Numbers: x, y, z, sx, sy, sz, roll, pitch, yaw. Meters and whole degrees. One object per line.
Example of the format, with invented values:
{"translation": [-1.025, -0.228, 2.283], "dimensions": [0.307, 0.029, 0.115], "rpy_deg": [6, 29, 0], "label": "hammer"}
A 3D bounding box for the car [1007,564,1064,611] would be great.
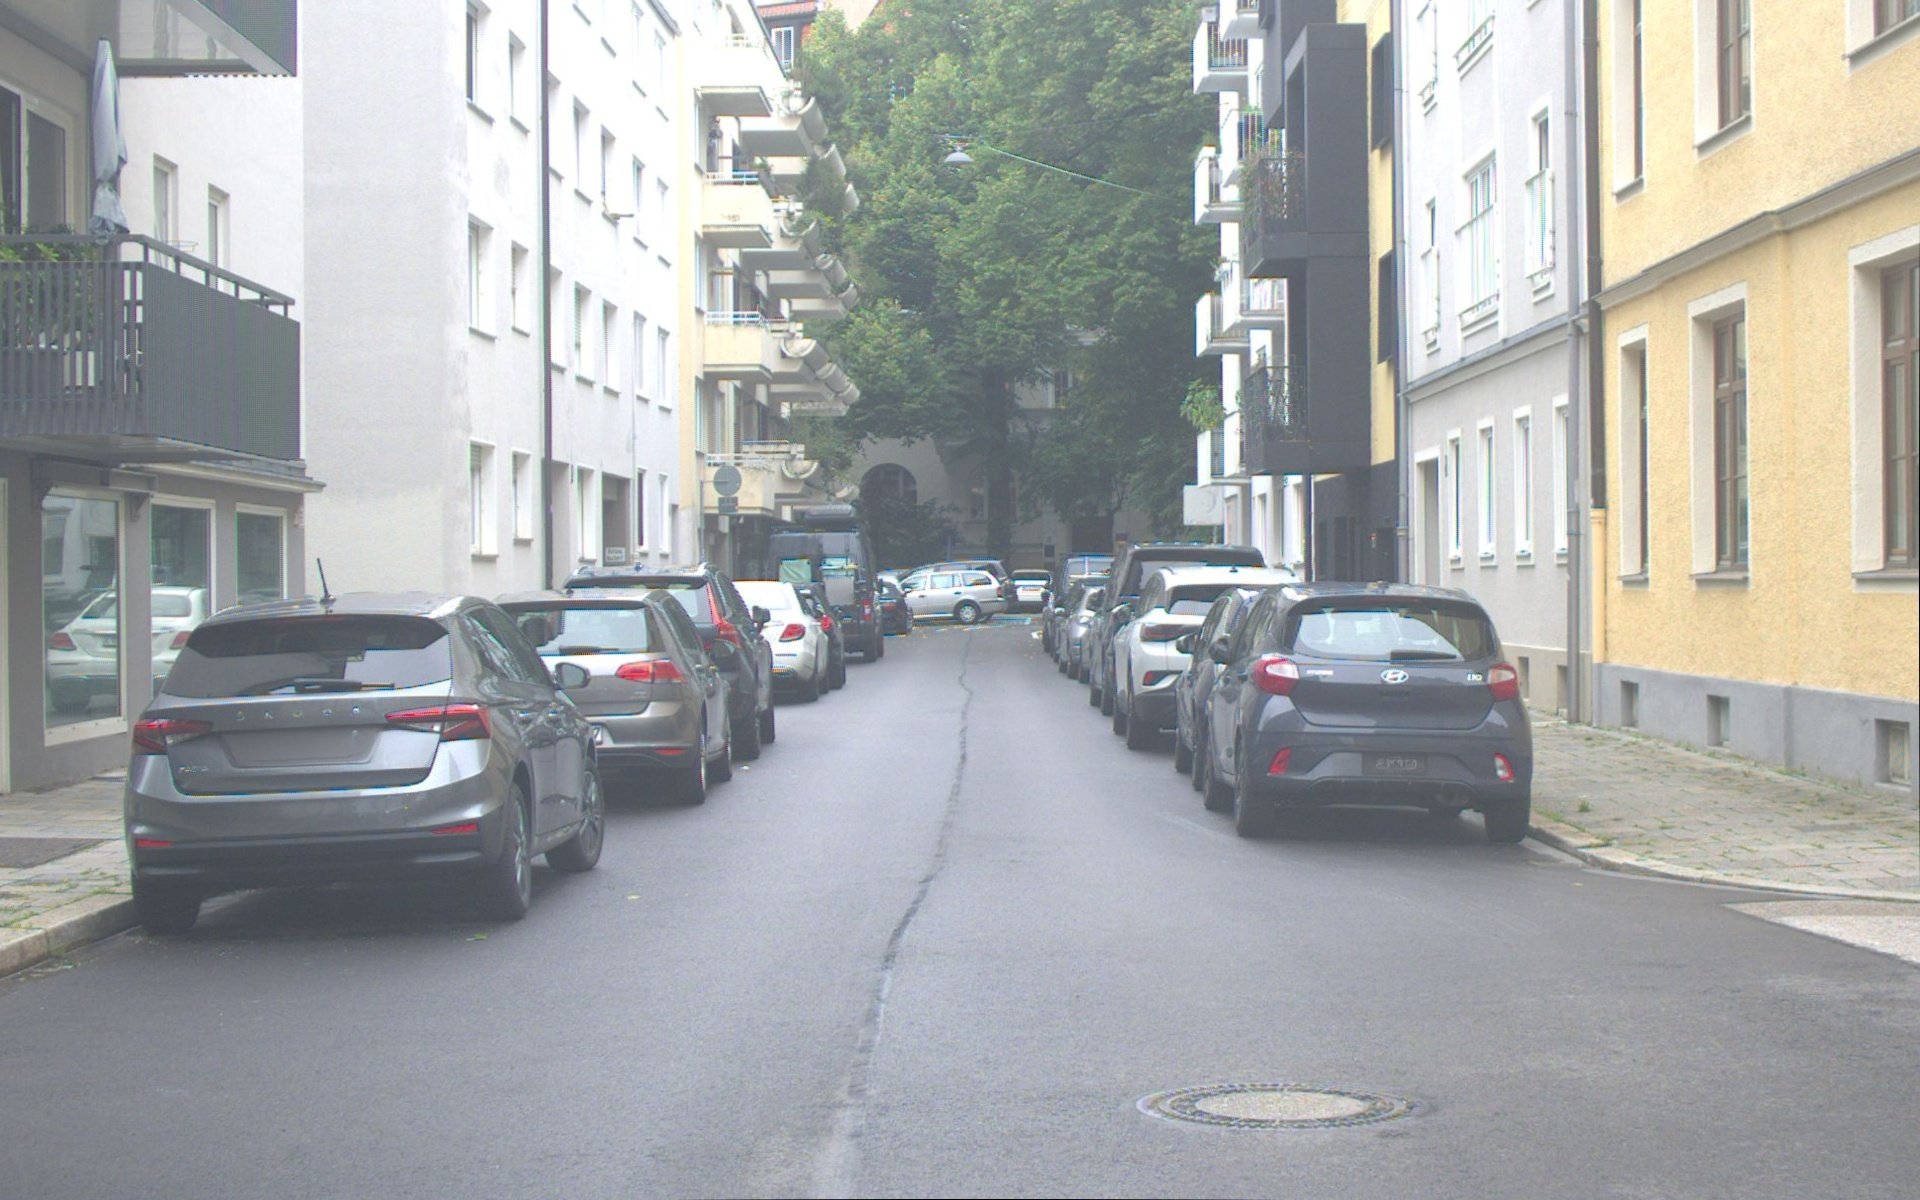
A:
{"translation": [2.356, -0.398, 108.283], "dimensions": [1.642, 1.379, 3.746], "rpy_deg": [-3, 0, 0], "label": "car"}

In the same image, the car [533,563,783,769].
{"translation": [-2.549, 0.513, 29.914], "dimensions": [1.777, 1.624, 4.415], "rpy_deg": [-1, 0, 0], "label": "car"}

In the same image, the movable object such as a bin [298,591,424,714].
{"translation": [-6.830, 0.587, 39.253], "dimensions": [1.166, 1.332, 1.025], "rpy_deg": [-2, 0, 3], "label": "movable object such as a bin"}

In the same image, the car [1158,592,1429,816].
{"translation": [2.433, 0.718, 25.865], "dimensions": [1.664, 1.464, 3.819], "rpy_deg": [2, 1, 1], "label": "car"}

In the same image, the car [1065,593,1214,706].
{"translation": [2.548, 0.675, 49.700], "dimensions": [1.829, 1.449, 4.415], "rpy_deg": [3, 0, 0], "label": "car"}

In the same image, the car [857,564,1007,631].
{"translation": [-0.742, -0.076, 91.334], "dimensions": [3.885, 1.579, 1.648], "rpy_deg": [-3, 0, -1], "label": "car"}

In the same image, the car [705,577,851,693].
{"translation": [-2.505, 0.456, 48.029], "dimensions": [1.777, 1.448, 4.046], "rpy_deg": [-3, 0, 0], "label": "car"}

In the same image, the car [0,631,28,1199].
{"translation": [-2.783, 0.803, 4.529], "dimensions": [1.856, 1.403, 4.383], "rpy_deg": [-1, 0, 1], "label": "car"}

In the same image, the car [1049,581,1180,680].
{"translation": [2.449, 0.460, 55.565], "dimensions": [1.829, 1.449, 4.415], "rpy_deg": [3, 0, 0], "label": "car"}

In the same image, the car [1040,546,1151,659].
{"translation": [2.545, 0.032, 65.561], "dimensions": [1.829, 1.993, 4.415], "rpy_deg": [3, 0, 0], "label": "car"}

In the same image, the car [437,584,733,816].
{"translation": [-2.539, 0.631, 24.088], "dimensions": [1.693, 1.437, 3.978], "rpy_deg": [-1, 0, -1], "label": "car"}

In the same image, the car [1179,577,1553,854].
{"translation": [2.420, 0.635, 21.489], "dimensions": [1.751, 1.464, 4.343], "rpy_deg": [2, 1, 0], "label": "car"}

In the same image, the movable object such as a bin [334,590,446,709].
{"translation": [-6.675, 0.570, 40.328], "dimensions": [1.047, 1.332, 0.993], "rpy_deg": [-2, 0, 3], "label": "movable object such as a bin"}

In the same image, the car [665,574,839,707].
{"translation": [-2.548, 0.464, 43.015], "dimensions": [1.777, 1.482, 4.519], "rpy_deg": [-3, 0, 1], "label": "car"}

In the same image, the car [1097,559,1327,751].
{"translation": [2.227, 0.440, 31.403], "dimensions": [1.682, 1.562, 4.416], "rpy_deg": [2, 1, 0], "label": "car"}

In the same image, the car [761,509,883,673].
{"translation": [-2.475, -0.174, 62.725], "dimensions": [1.936, 2.792, 4.533], "rpy_deg": [-3, 0, 0], "label": "car"}

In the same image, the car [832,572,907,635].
{"translation": [-2.125, 0.065, 81.365], "dimensions": [1.642, 1.379, 3.482], "rpy_deg": [-3, 0, 0], "label": "car"}

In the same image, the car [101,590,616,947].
{"translation": [-2.726, 0.704, 16.418], "dimensions": [1.693, 1.437, 3.942], "rpy_deg": [-1, 0, 1], "label": "car"}

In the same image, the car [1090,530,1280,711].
{"translation": [2.503, 0.197, 39.135], "dimensions": [1.829, 1.903, 4.415], "rpy_deg": [2, 1, 0], "label": "car"}
